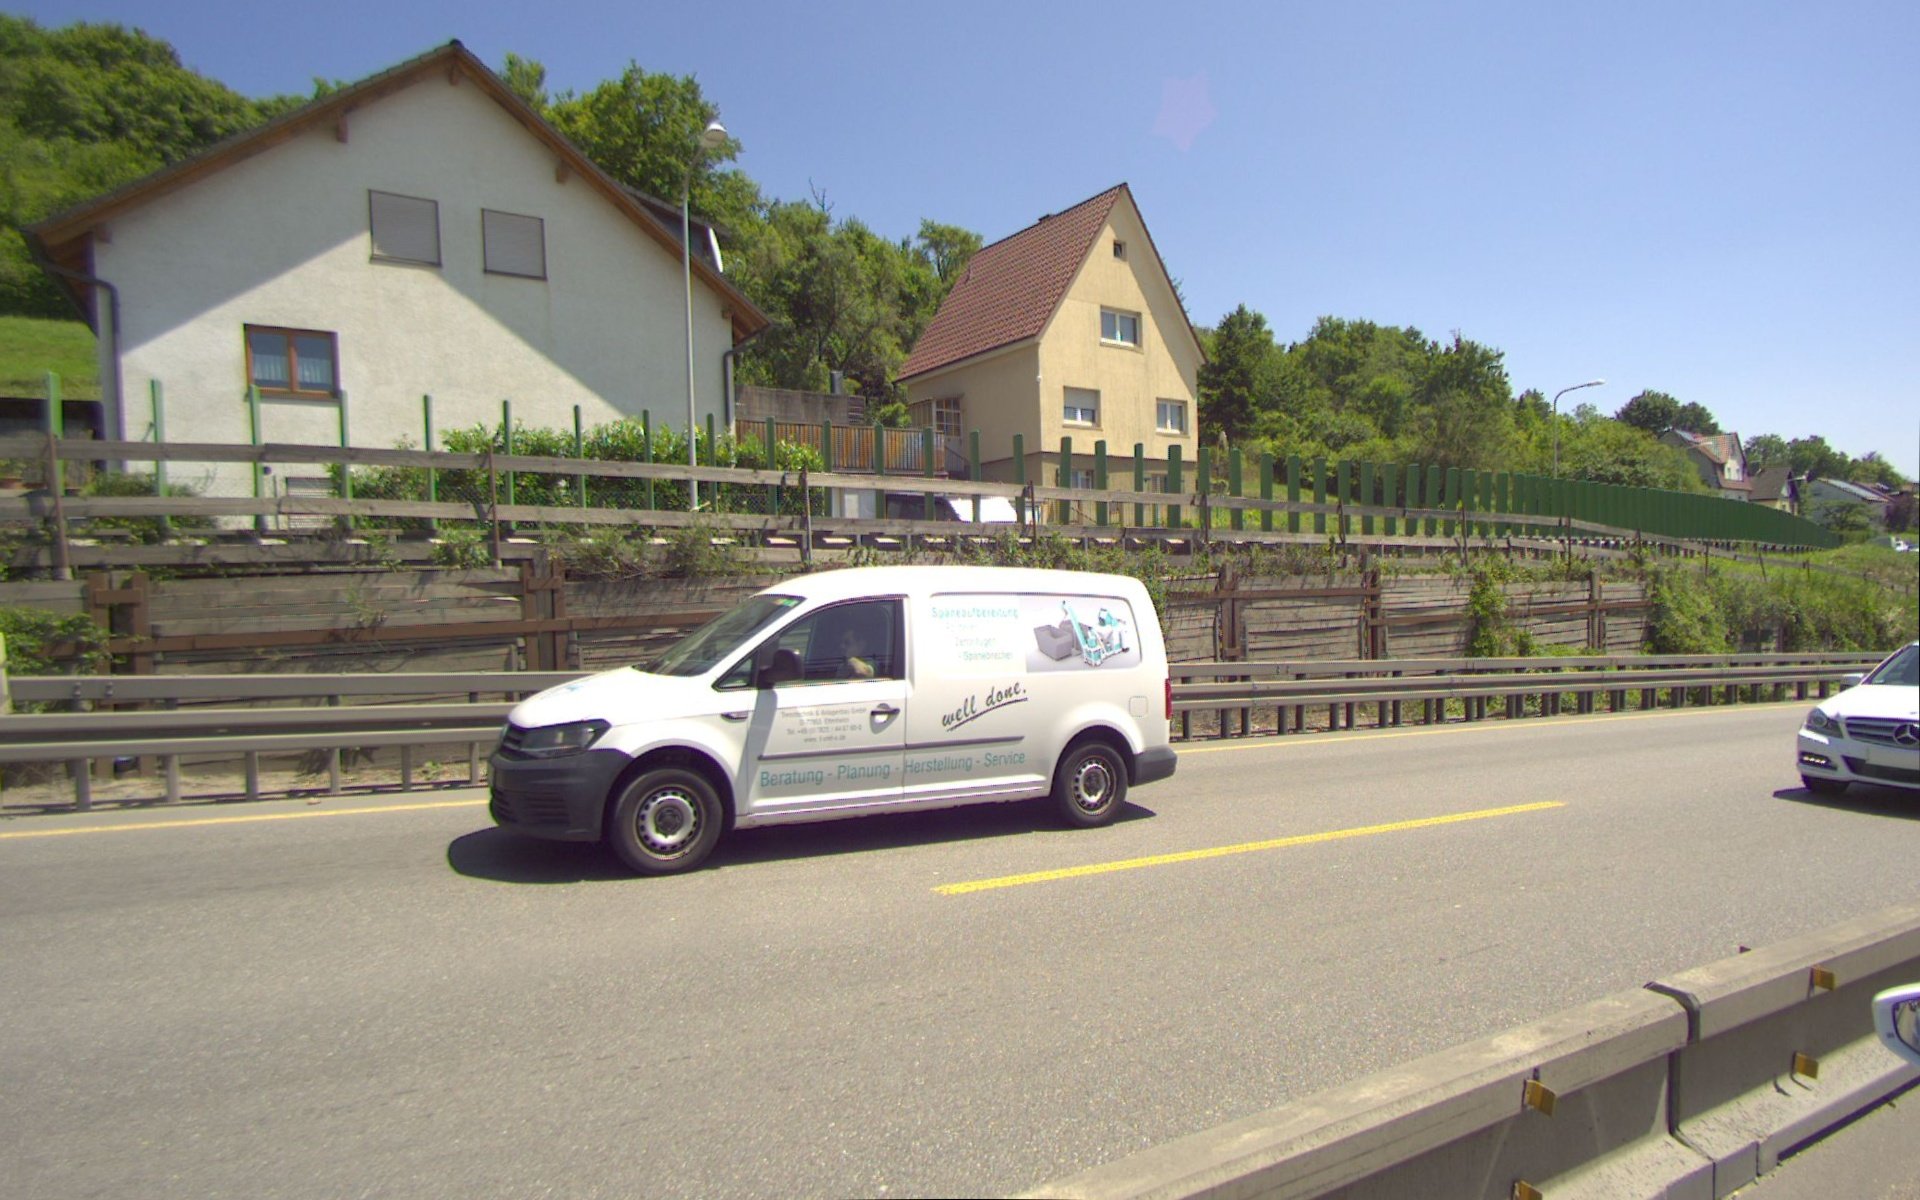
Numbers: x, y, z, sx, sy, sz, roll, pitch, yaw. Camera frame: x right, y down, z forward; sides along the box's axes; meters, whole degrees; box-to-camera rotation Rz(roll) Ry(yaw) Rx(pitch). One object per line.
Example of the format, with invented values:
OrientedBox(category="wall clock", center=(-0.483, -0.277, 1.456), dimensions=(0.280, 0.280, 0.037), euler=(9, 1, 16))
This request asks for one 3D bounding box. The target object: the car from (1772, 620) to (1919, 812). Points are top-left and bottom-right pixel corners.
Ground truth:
OrientedBox(category="car", center=(9.269, 0.982, 8.998), dimensions=(4.209, 1.457, 1.724), euler=(2, 0, -31))

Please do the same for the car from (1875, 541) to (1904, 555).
OrientedBox(category="car", center=(83.440, -4.674, 90.121), dimensions=(3.242, 1.052, 1.272), euler=(1, -1, -35))

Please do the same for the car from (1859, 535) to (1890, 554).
OrientedBox(category="car", center=(79.567, -4.807, 87.413), dimensions=(1.707, 1.417, 3.784), euler=(2, 1, 39))

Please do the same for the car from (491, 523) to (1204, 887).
OrientedBox(category="car", center=(-0.612, 0.609, 7.006), dimensions=(4.696, 1.858, 1.589), euler=(2, -1, -30))
